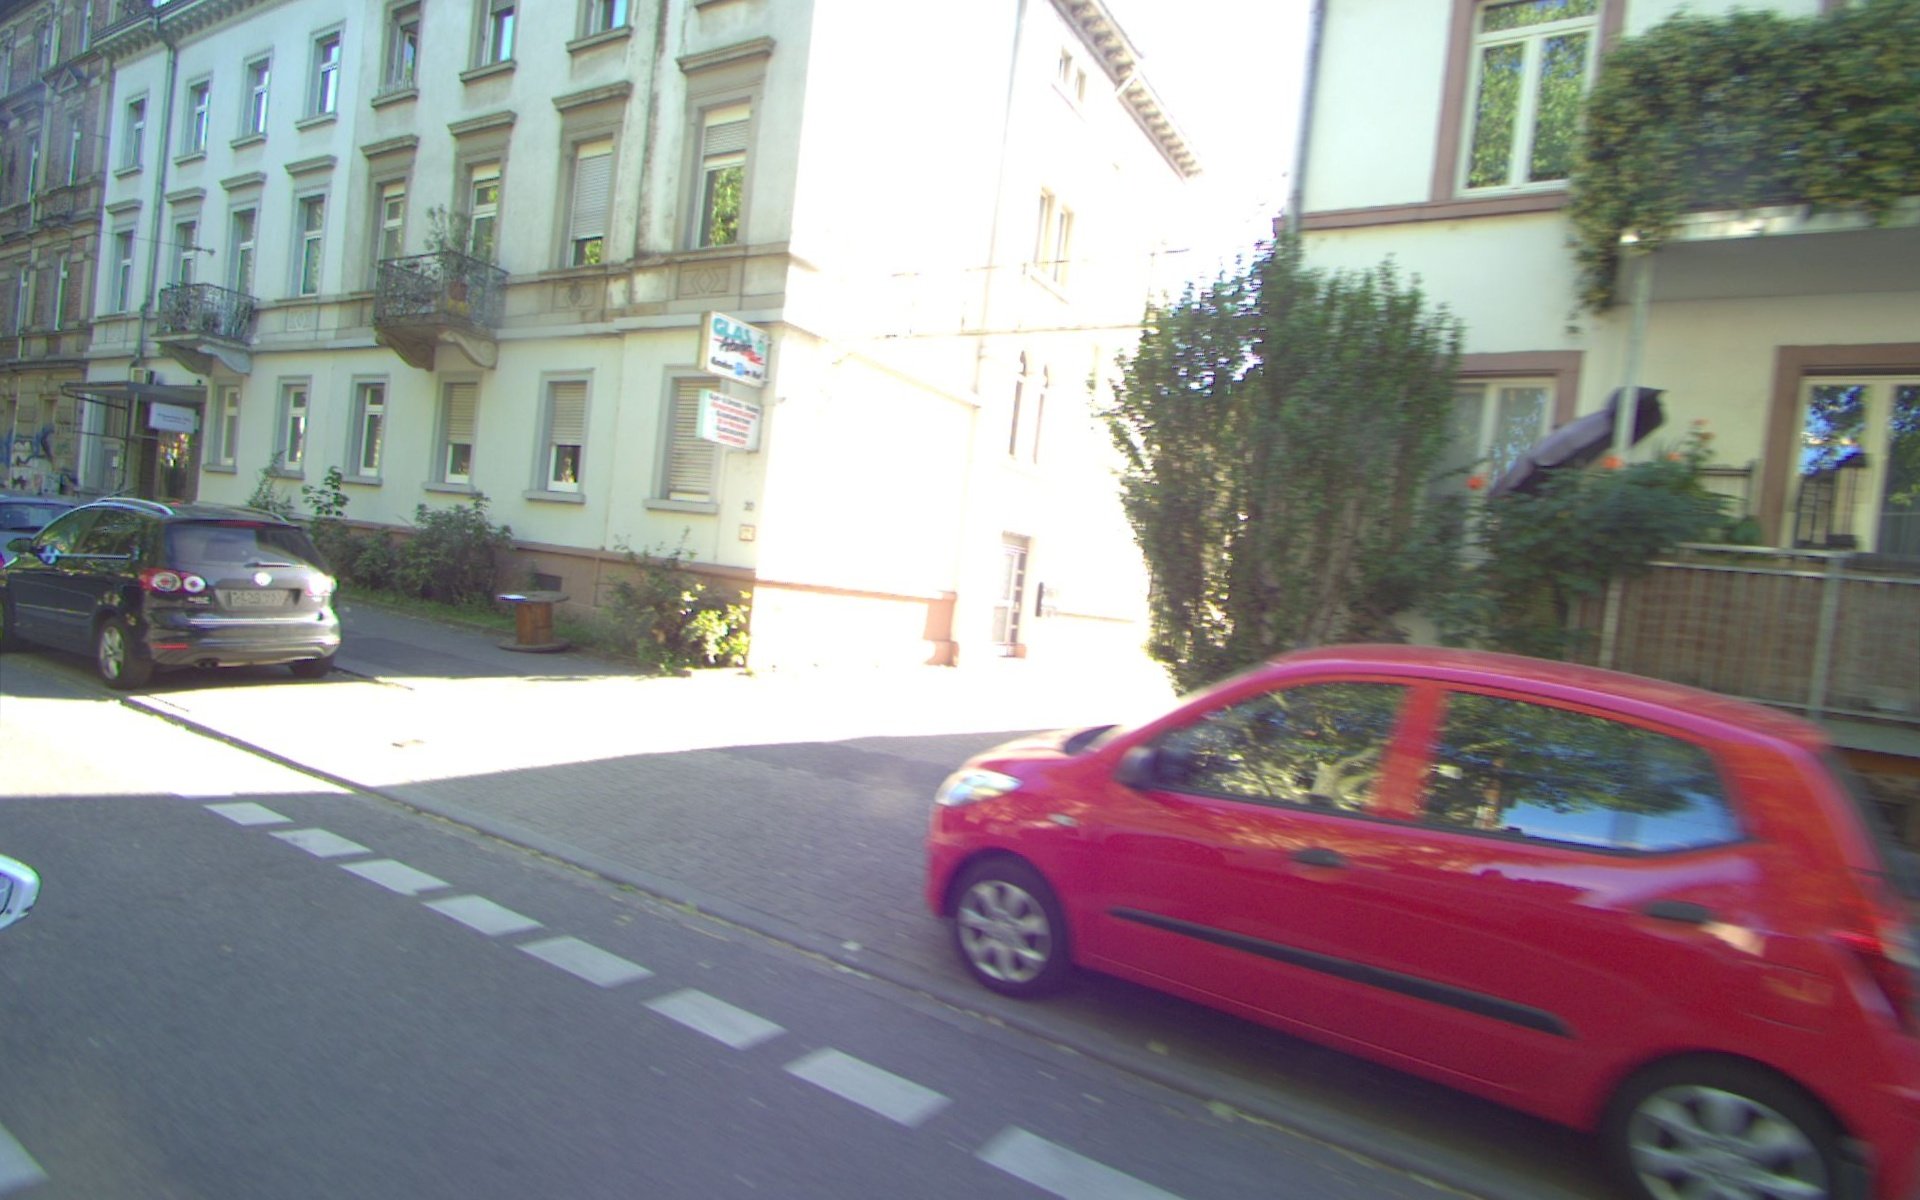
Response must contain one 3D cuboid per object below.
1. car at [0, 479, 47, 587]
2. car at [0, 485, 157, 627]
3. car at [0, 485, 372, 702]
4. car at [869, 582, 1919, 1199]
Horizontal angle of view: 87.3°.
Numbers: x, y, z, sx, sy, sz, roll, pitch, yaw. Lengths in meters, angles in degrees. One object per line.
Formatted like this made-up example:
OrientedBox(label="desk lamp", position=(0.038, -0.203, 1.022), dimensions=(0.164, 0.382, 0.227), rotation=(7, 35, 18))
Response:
OrientedBox(label="car", position=(-15.180, -1.113, 14.641), dimensions=(3.960, 1.477, 1.878), rotation=(7, 4, 33))
OrientedBox(label="car", position=(-11.563, -0.623, 12.110), dimensions=(3.705, 1.477, 1.798), rotation=(7, 4, 31))
OrientedBox(label="car", position=(-7.779, -0.177, 9.779), dimensions=(3.866, 1.608, 1.879), rotation=(7, 4, 30))
OrientedBox(label="car", position=(1.582, 0.910, 4.007), dimensions=(3.518, 1.567, 1.634), rotation=(7, 2, 33))
